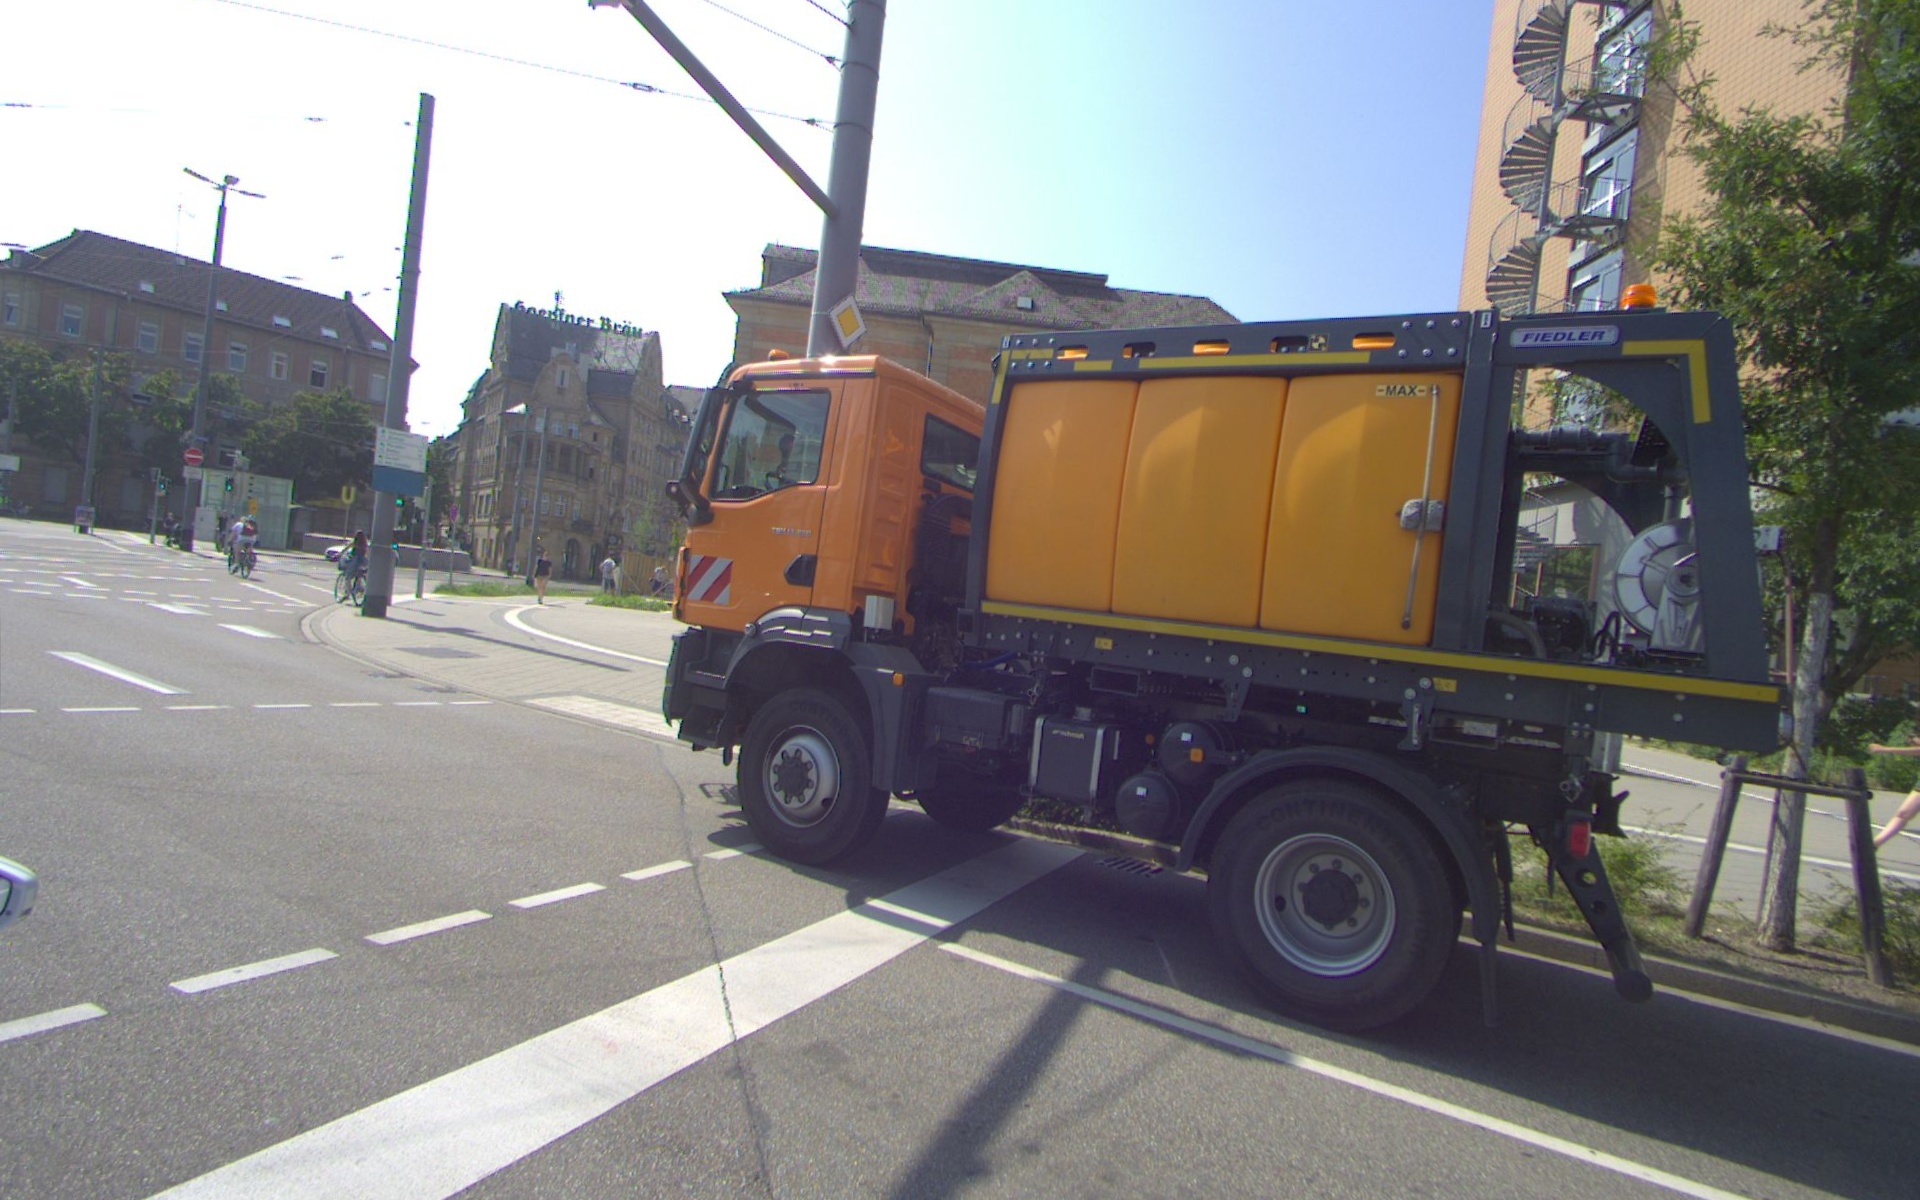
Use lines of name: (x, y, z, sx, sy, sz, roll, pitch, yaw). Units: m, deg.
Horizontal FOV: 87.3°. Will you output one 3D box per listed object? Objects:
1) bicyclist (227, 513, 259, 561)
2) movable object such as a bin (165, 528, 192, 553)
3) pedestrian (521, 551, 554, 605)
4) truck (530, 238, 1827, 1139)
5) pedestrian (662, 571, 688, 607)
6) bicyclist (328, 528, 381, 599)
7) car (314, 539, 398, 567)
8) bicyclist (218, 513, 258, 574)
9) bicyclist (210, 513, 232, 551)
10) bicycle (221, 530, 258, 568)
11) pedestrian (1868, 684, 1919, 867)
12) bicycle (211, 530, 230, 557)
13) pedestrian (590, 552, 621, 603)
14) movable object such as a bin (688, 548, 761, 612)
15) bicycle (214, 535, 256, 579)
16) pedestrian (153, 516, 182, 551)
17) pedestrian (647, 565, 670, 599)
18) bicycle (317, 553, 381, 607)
bicyclist: (-22.601, -1.990, 31.709, 0.881, 1.410, 0.529, 7, 1, 42)
movable object such as a bin: (-37.311, -2.825, 48.016, 0.800, 1.091, 0.512, 6, 1, 3)
pedestrian: (-13.206, -0.684, 31.455, 0.727, 1.595, 0.787, 6, 1, -16)
truck: (0.628, 0.090, 6.363, 6.747, 3.174, 2.494, 6, 0, 32)
pedestrian: (-11.740, -0.448, 41.462, 0.679, 1.417, 0.767, 6, 0, 4)
bicyclist: (-13.965, -0.841, 23.204, 0.653, 1.536, 0.734, 7, 1, 34)
car: (-33.928, -2.615, 56.633, 1.962, 1.103, 4.002, 7, -1, 7)
bicyclist: (-19.574, -1.530, 27.279, 0.702, 1.536, 0.626, 7, 1, 42)
bicyclist: (-31.727, -2.918, 43.179, 0.609, 1.548, 0.515, 6, 1, -40)
bicycle: (-22.913, -1.633, 31.982, 1.631, 1.068, 0.535, 6, 0, 42)
pedestrian: (9.570, 1.732, 9.792, 0.792, 1.720, 0.671, 7, 1, 29)
bicycle: (-31.674, -2.419, 43.101, 0.467, 1.068, 1.635, 6, 0, -40)
pedestrian: (-12.957, -0.828, 36.781, 0.808, 1.746, 0.545, 6, 1, -11)
movable object such as a bin: (-10.656, -0.818, 45.965, 1.926, 2.337, 5.561, 7, -2, -2)
bicycle: (-19.862, -1.177, 27.562, 1.631, 1.068, 0.535, 6, 0, 42)
pedestrian: (-38.054, -3.203, 48.309, 0.836, 1.564, 0.529, 6, 1, 6)
pedestrian: (-11.902, -0.715, 39.683, 0.660, 1.229, 0.523, 6, 1, -32)
bicycle: (-14.160, -0.466, 23.307, 1.794, 1.068, 0.492, 7, 0, 34)
